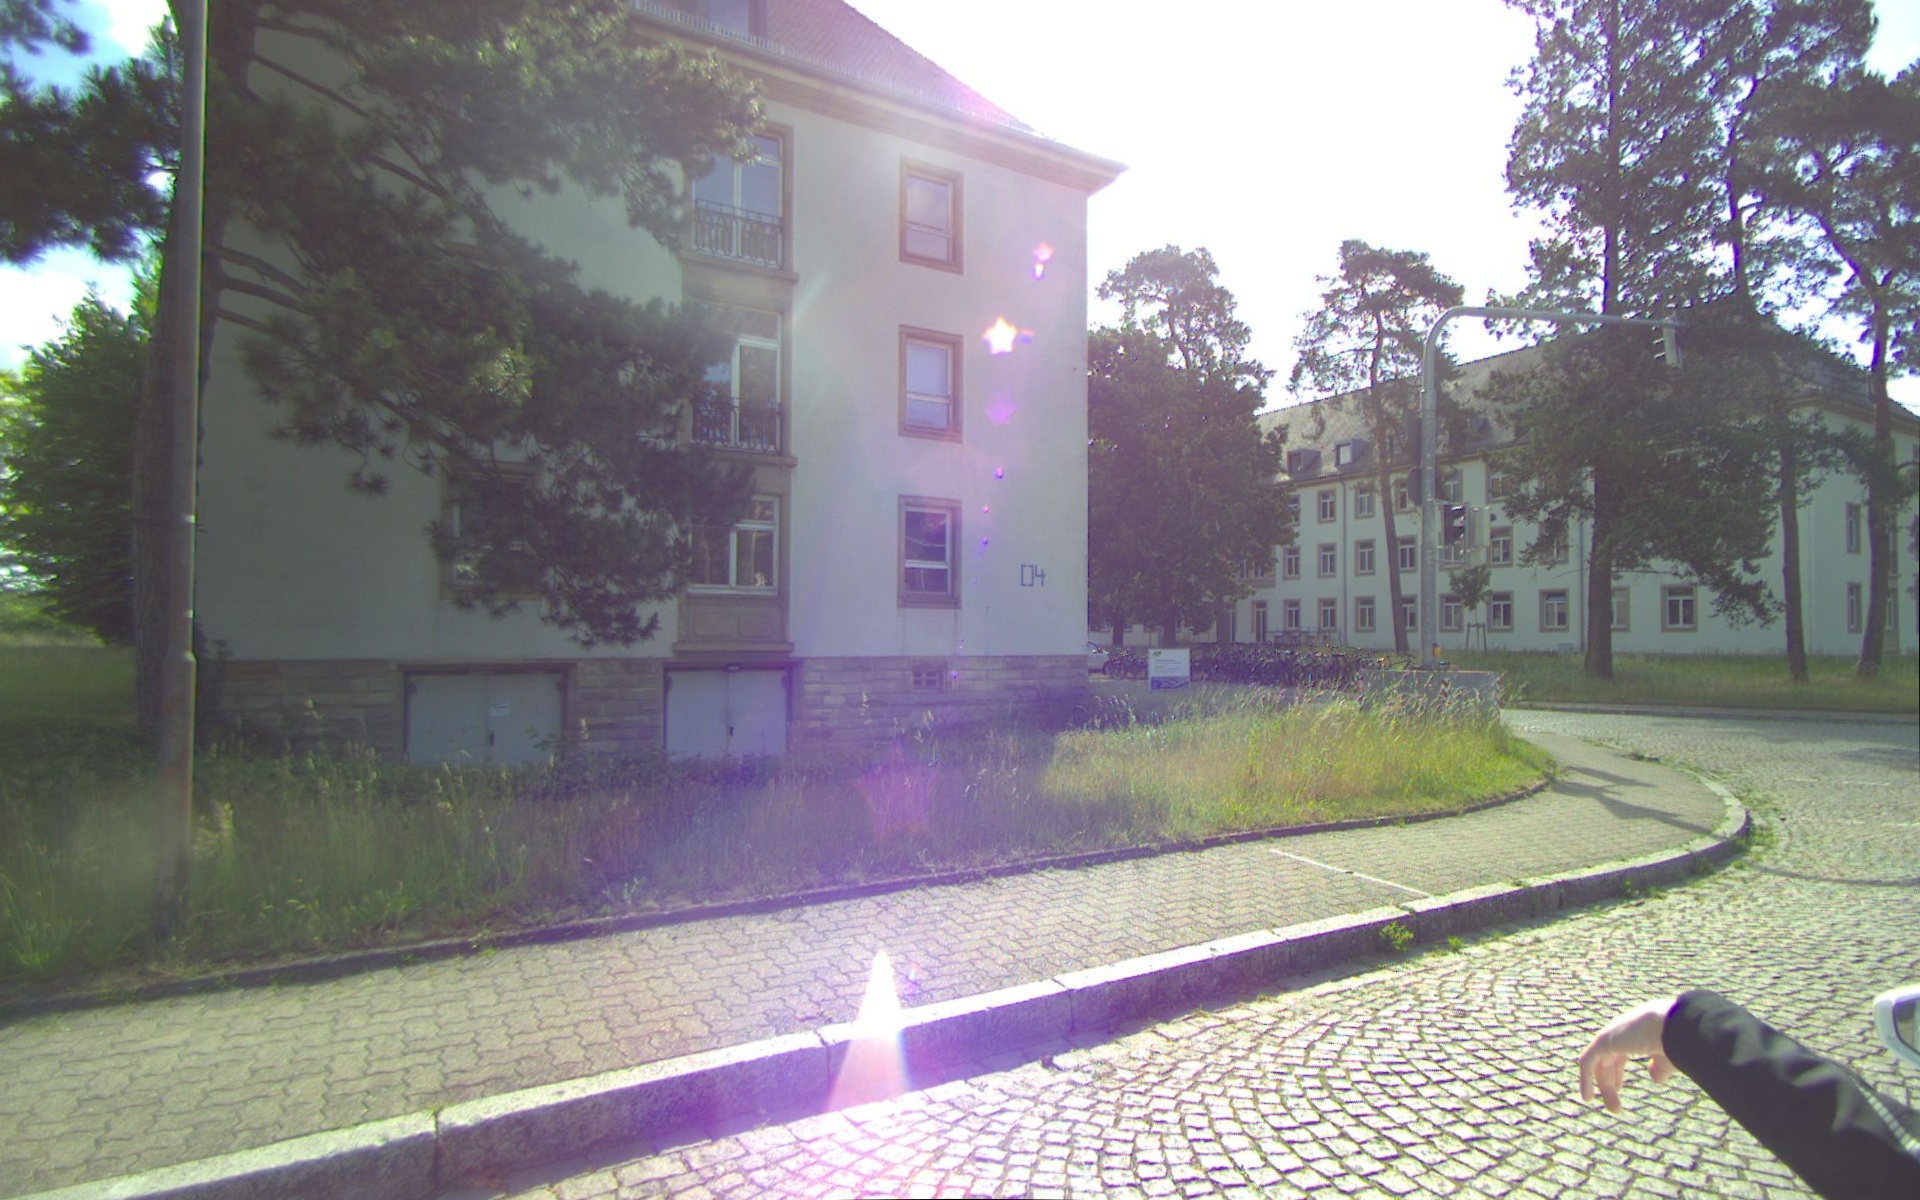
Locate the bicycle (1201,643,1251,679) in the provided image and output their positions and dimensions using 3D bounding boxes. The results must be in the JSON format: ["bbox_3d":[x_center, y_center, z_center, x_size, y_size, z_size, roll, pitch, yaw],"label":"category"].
[{"bbox_3d":[9.336,2.127,35.203,1.915,1.236,0.511,1,-2,-31],"label":"bicycle"}]

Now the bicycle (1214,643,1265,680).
[{"bbox_3d":[9.651,2.121,34.681,1.915,1.236,0.511,1,-2,-31],"label":"bicycle"}]

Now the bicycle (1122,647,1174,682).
[{"bbox_3d":[6.801,2.324,36.321,1.794,1.236,0.515,-1,-2,24],"label":"bicycle"}]

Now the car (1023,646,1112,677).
[{"bbox_3d":[4.570,2.581,42.552,3.550,1.227,1.504,1,-3,-29],"label":"car"}]

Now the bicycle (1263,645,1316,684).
[{"bbox_3d":[10.745,2.099,32.753,1.954,1.236,0.511,1,-2,-31],"label":"bicycle"}]

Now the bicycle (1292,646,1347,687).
[{"bbox_3d":[11.372,2.091,31.773,1.993,1.236,0.511,1,-2,-31],"label":"bicycle"}]

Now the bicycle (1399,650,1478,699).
[{"bbox_3d":[12.691,1.957,26.690,0.627,1.236,1.853,1,-2,-30],"label":"bicycle"}]

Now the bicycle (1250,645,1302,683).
[{"bbox_3d":[10.455,2.101,33.190,1.932,1.236,0.511,1,-2,-31],"label":"bicycle"}]

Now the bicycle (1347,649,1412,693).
[{"bbox_3d":[12.158,2.046,29.107,2.080,1.236,0.630,1,-2,-31],"label":"bicycle"}]

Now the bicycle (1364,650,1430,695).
[{"bbox_3d":[12.454,2.040,28.581,2.100,1.236,0.630,1,-2,-31],"label":"bicycle"}]

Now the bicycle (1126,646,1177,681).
[{"bbox_3d":[7.030,2.333,36.928,1.794,1.236,0.515,-1,-2,24],"label":"bicycle"}]

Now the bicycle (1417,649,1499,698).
[{"bbox_3d":[13.345,1.951,26.969,0.627,1.236,1.935,1,-2,-30],"label":"bicycle"}]

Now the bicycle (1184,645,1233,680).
[{"bbox_3d":[8.892,2.229,35.974,1.915,1.236,0.511,1,-2,-31],"label":"bicycle"}]

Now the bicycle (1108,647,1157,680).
[{"bbox_3d":[6.521,2.388,37.918,1.792,1.236,0.516,0,-2,6],"label":"bicycle"}]

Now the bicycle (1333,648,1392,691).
[{"bbox_3d":[12.055,2.065,30.045,1.967,1.236,0.569,1,-2,-31],"label":"bicycle"}]

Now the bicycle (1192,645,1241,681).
[{"bbox_3d":[9.107,2.225,35.603,1.915,1.236,0.511,1,-2,-31],"label":"bicycle"}]

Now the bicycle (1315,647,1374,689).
[{"bbox_3d":[11.791,2.078,30.759,2.006,1.236,0.576,1,-2,-31],"label":"bicycle"}]

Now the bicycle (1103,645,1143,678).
[{"bbox_3d":[6.392,2.408,39.418,1.815,1.236,0.509,2,-3,-42],"label":"bicycle"}]

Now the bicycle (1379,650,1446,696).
[{"bbox_3d":[12.703,2.033,28.168,2.090,1.236,0.630,1,-2,-31],"label":"bicycle"}]

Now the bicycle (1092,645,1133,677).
[{"bbox_3d":[6.075,2.414,39.934,1.813,1.236,0.510,2,-3,-39],"label":"bicycle"}]

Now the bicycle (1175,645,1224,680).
[{"bbox_3d":[8.674,2.235,36.365,1.915,1.236,0.511,1,-2,-31],"label":"bicycle"}]

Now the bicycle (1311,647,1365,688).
[{"bbox_3d":[11.861,2.091,31.471,1.878,1.236,0.545,1,-2,-31],"label":"bicycle"}]

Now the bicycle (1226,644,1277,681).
[{"bbox_3d":[9.932,2.114,34.159,1.915,1.236,0.511,1,-2,-31],"label":"bicycle"}]

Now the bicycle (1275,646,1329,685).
[{"bbox_3d":[11.009,2.097,32.309,1.954,1.236,0.511,1,-2,-31],"label":"bicycle"}]

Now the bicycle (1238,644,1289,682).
[{"bbox_3d":[10.186,2.107,33.676,1.915,1.236,0.511,1,-2,-31],"label":"bicycle"}]
